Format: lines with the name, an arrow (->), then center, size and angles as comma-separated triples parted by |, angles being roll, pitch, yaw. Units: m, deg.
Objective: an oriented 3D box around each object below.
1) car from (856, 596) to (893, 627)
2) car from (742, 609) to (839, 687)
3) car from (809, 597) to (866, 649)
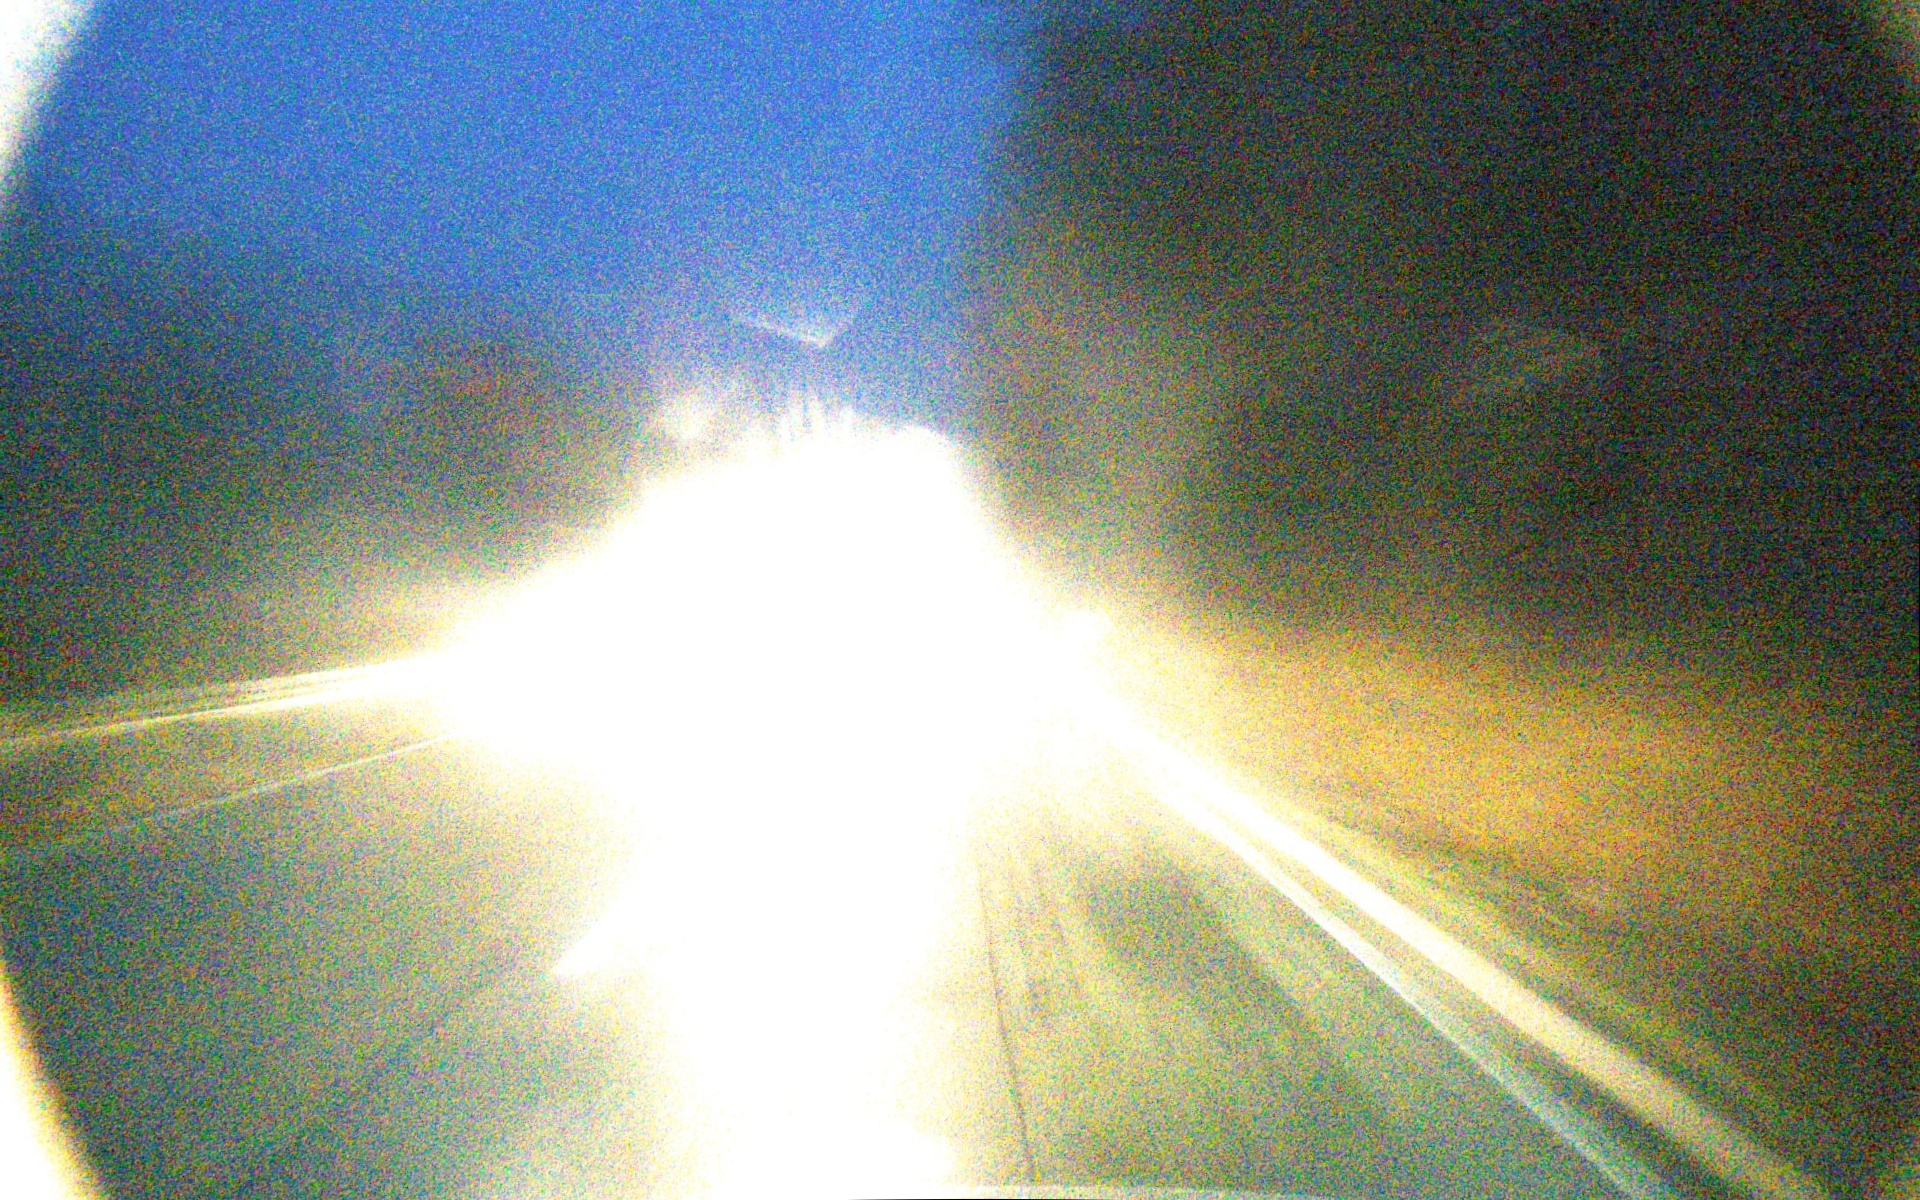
car -> -4.312, 0.570, 83.895 | 1.799, 1.497, 4.390 | 0, 0, -2
car -> -3.714, 1.024, 36.782 | 1.791, 1.481, 3.792 | -1, 2, -1
car -> -4.331, 0.783, 58.265 | 1.894, 1.614, 3.996 | -2, 2, -5
